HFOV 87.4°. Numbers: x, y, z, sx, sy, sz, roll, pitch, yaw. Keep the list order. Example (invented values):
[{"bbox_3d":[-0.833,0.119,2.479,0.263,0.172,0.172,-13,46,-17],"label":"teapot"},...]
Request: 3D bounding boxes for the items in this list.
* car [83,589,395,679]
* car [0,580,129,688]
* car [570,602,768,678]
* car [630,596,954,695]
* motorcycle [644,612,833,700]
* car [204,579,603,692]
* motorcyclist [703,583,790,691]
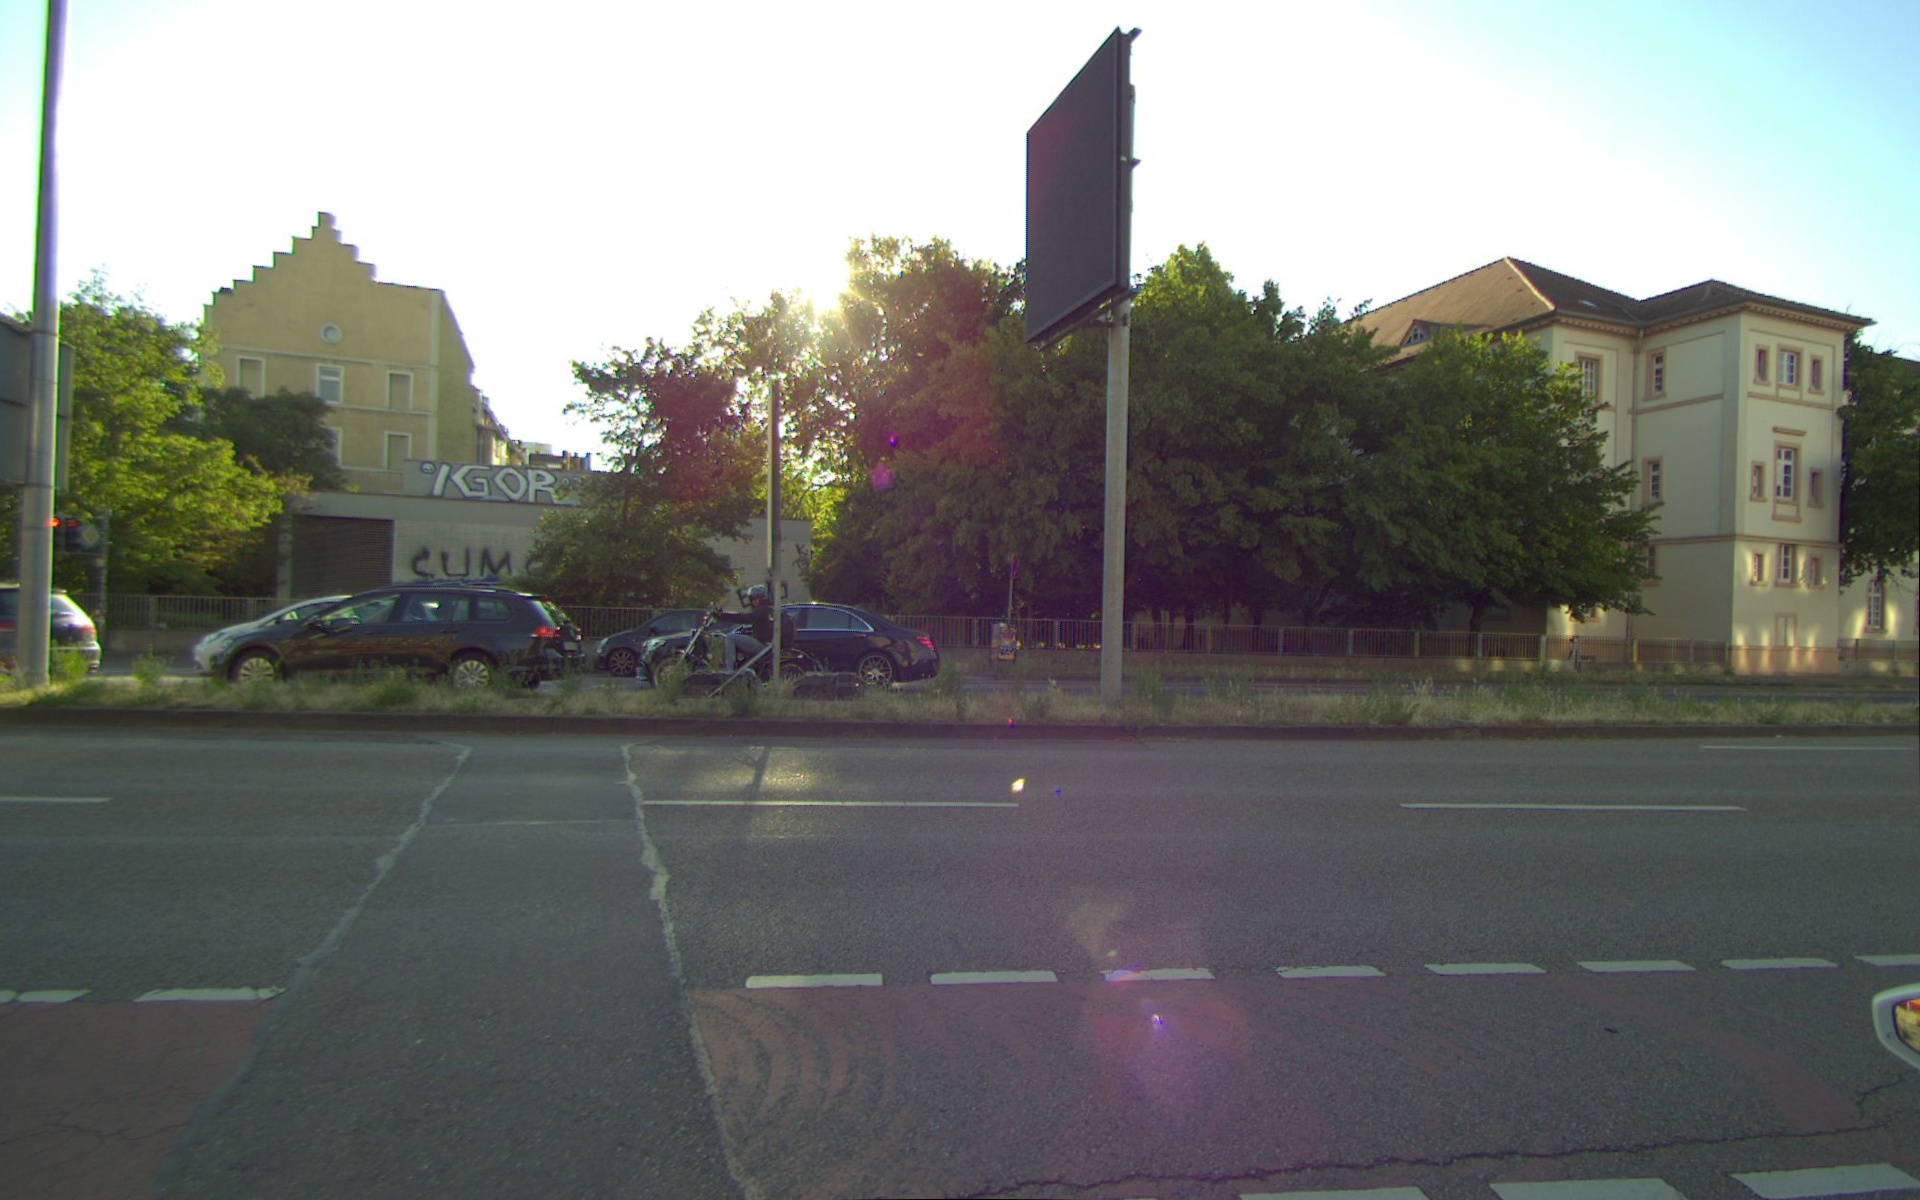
[{"bbox_3d":[-11.851,0.563,16.747,3.822,1.336,1.723,2,-1,-7],"label":"car"},{"bbox_3d":[-13.675,0.382,13.069,4.167,1.313,1.724,2,-1,-3],"label":"car"},{"bbox_3d":[-6.189,0.852,21.792,3.929,1.483,1.856,2,-1,-11],"label":"car"},{"bbox_3d":[-2.842,0.780,17.421,5.198,1.515,1.996,2,-1,-11],"label":"car"},{"bbox_3d":[-3.009,0.759,13.884,2.423,1.122,0.861,2,-1,-5],"label":"motorcycle"},{"bbox_3d":[-7.239,0.473,13.443,4.293,1.313,1.723,2,-1,-4],"label":"car"},{"bbox_3d":[-2.927,0.502,13.871,1.041,1.416,0.854,1,-1,-4],"label":"motorcyclist"}]
